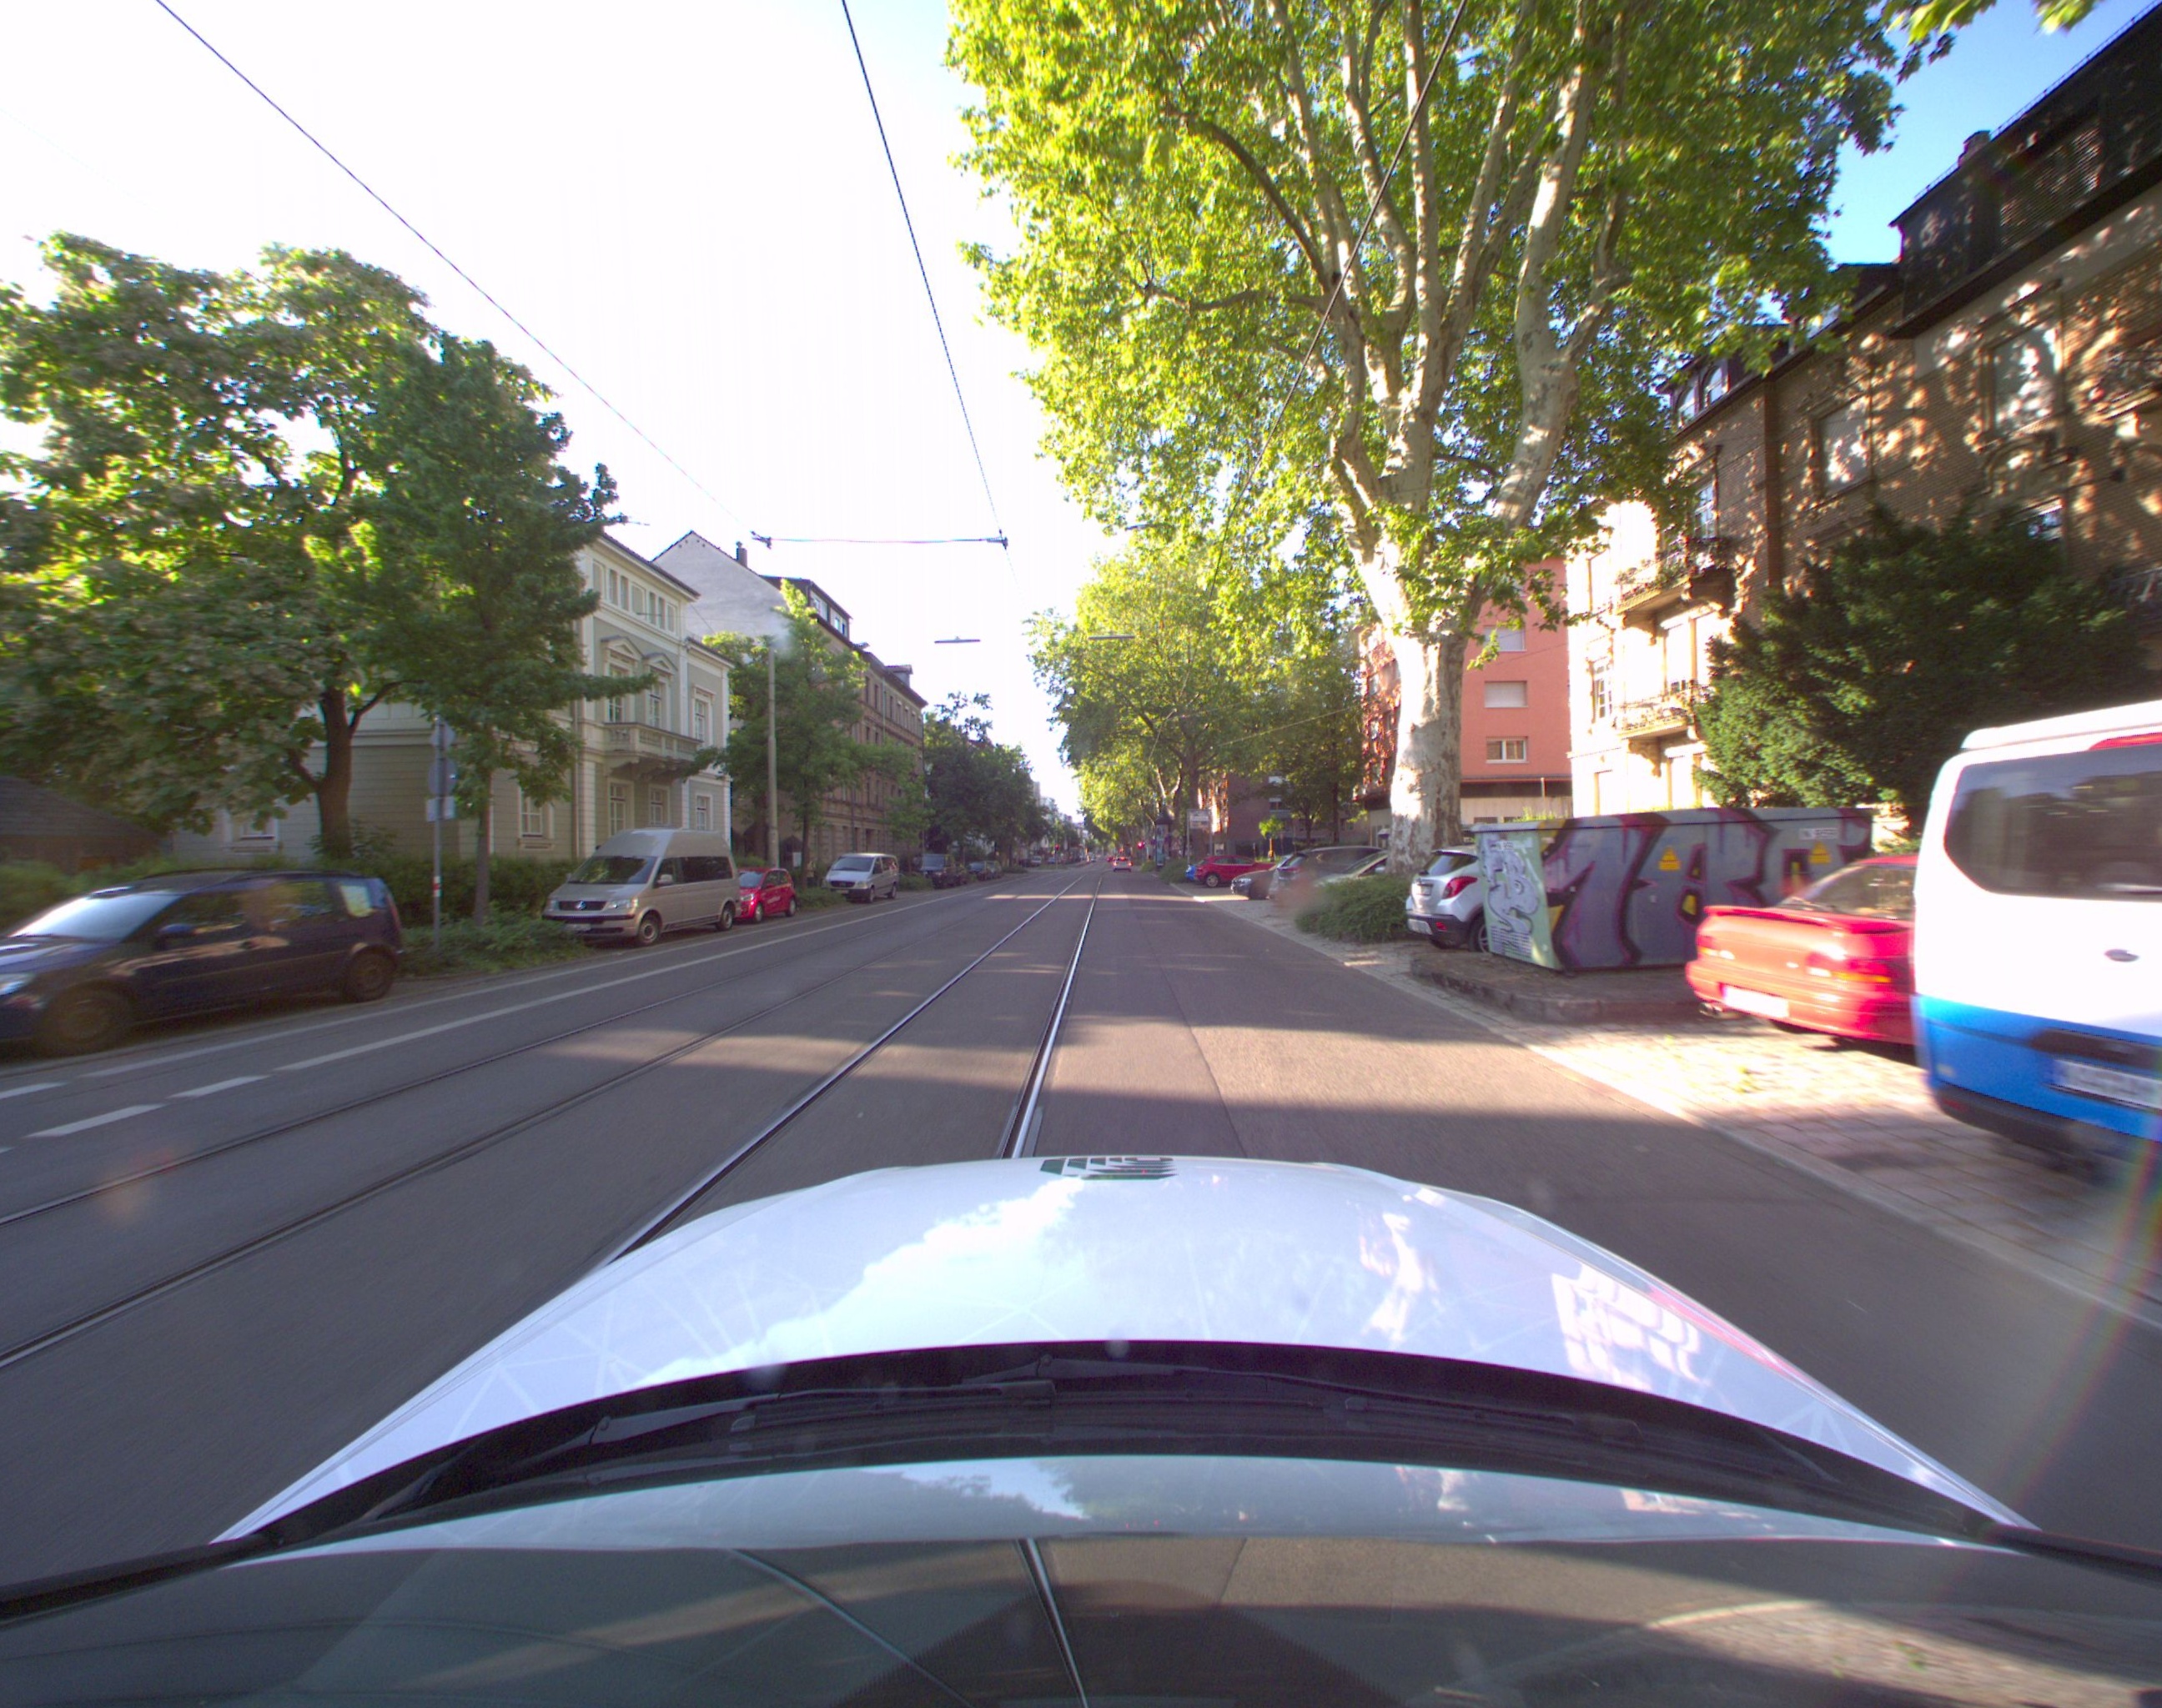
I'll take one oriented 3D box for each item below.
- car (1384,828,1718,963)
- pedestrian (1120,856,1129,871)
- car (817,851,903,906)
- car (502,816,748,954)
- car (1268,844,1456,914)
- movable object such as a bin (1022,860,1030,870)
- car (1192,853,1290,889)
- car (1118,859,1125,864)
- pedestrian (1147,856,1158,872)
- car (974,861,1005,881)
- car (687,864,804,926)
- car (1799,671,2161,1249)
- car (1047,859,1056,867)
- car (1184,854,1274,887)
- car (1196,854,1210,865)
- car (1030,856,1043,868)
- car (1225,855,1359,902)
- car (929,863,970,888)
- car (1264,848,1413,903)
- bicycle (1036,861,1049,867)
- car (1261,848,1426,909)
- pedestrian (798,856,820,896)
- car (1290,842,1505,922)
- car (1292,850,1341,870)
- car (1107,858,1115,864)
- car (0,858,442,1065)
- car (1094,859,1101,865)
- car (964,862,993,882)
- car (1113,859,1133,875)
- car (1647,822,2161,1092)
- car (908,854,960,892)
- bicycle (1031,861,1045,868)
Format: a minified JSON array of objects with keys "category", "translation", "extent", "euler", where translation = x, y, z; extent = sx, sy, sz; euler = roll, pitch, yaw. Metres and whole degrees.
[{"category":"car","translation":[6.636,0.556,11.812],"extent":[3.770,1.619,1.790],"euler":[-3,0,-1]},{"category":"pedestrian","translation":[5.317,1.208,100.027],"extent":[0.992,1.811,0.863],"euler":[-2,0,-4]},{"category":"car","translation":[-8.773,0.932,32.788],"extent":[1.836,1.989,4.991],"euler":[-2,0,3]},{"category":"car","translation":[-9.572,0.586,17.806],"extent":[2.296,2.508,5.343],"euler":[-1,0,0]},{"category":"car","translation":[7.170,0.611,21.053],"extent":[4.188,1.619,1.878],"euler":[-2,0,-2]},{"category":"movable object such as a bin","translation":[-8.048,1.580,119.747],"extent":[1.167,1.348,0.782],"euler":[2,-1,-3]},{"category":"car","translation":[7.594,0.796,39.049],"extent":[4.384,1.543,1.954],"euler":[-2,0,4]},{"category":"car","translation":[10.859,1.982,218.916],"extent":[1.986,1.453,4.001],"euler":[-1,0,2]},{"category":"pedestrian","translation":[8.566,1.222,97.299],"extent":[0.980,1.863,1.015],"euler":[-5,0,-4]},{"category":"car","translation":[-7.629,1.398,68.042],"extent":[1.691,1.550,4.542],"euler":[-1,0,5]},{"category":"car","translation":[-9.378,1.085,23.064],"extent":[1.679,1.539,3.708],"euler":[-2,0,1]},{"category":"car","translation":[6.149,0.258,3.146],"extent":[4.833,2.013,2.193],"euler":[-3,0,-2]},{"category":"car","translation":[-5.941,1.859,165.303],"extent":[1.587,1.548,4.001],"euler":[1,0,2]},{"category":"car","translation":[7.486,0.818,41.337],"extent":[4.378,1.543,1.822],"euler":[-2,0,8]},{"category":"car","translation":[18.053,0.843,120.354],"extent":[1.595,1.495,3.417],"euler":[-2,0,0]},{"category":"car","translation":[-7.231,1.346,133.138],"extent":[1.682,1.940,4.001],"euler":[-2,0,2]},{"category":"car","translation":[7.229,0.821,28.217],"extent":[4.185,1.448,1.818],"euler":[-2,0,1]},{"category":"car","translation":[-8.363,1.361,52.273],"extent":[1.846,1.458,4.270],"euler":[-2,0,1]},{"category":"car","translation":[8.041,0.667,25.731],"extent":[4.181,1.555,1.819],"euler":[-2,0,4]},{"category":"bicycle","translation":[-6.947,1.824,147.999],"extent":[2.244,1.074,0.637],"euler":[2,0,2]},{"category":"car","translation":[7.457,0.684,23.447],"extent":[4.181,1.574,1.819],"euler":[-2,0,4]},{"category":"pedestrian","translation":[-11.631,0.926,34.823],"extent":[0.602,1.662,0.948],"euler":[0,0,3]},{"category":"car","translation":[7.057,0.613,18.500],"extent":[4.181,1.619,1.819],"euler":[-2,0,4]},{"category":"car","translation":[19.323,0.482,66.986],"extent":[3.527,1.452,1.683],"euler":[-2,0,-1]},{"category":"car","translation":[7.085,1.628,191.485],"extent":[1.781,1.513,4.001],"euler":[-1,0,2]},{"category":"car","translation":[-9.740,0.921,8.861],"extent":[1.983,1.690,4.266],"euler":[-2,0,4]},{"category":"car","translation":[4.409,2.147,216.985],"extent":[1.687,1.419,4.001],"euler":[-1,0,2]},{"category":"car","translation":[-7.812,1.377,62.529],"extent":[1.652,1.445,3.950],"euler":[-1,0,1]},{"category":"car","translation":[4.090,1.275,79.778],"extent":[1.781,1.513,4.001],"euler":[-1,0,2]},{"category":"car","translation":[6.563,0.590,5.815],"extent":[3.770,1.488,1.790],"euler":[-3,0,-1]},{"category":"car","translation":[-8.438,1.041,47.105],"extent":[1.987,2.013,4.835],"euler":[-2,0,1]},{"category":"bicycle","translation":[-7.374,1.764,140.600],"extent":[2.244,1.074,0.637],"euler":[2,0,2]}]
